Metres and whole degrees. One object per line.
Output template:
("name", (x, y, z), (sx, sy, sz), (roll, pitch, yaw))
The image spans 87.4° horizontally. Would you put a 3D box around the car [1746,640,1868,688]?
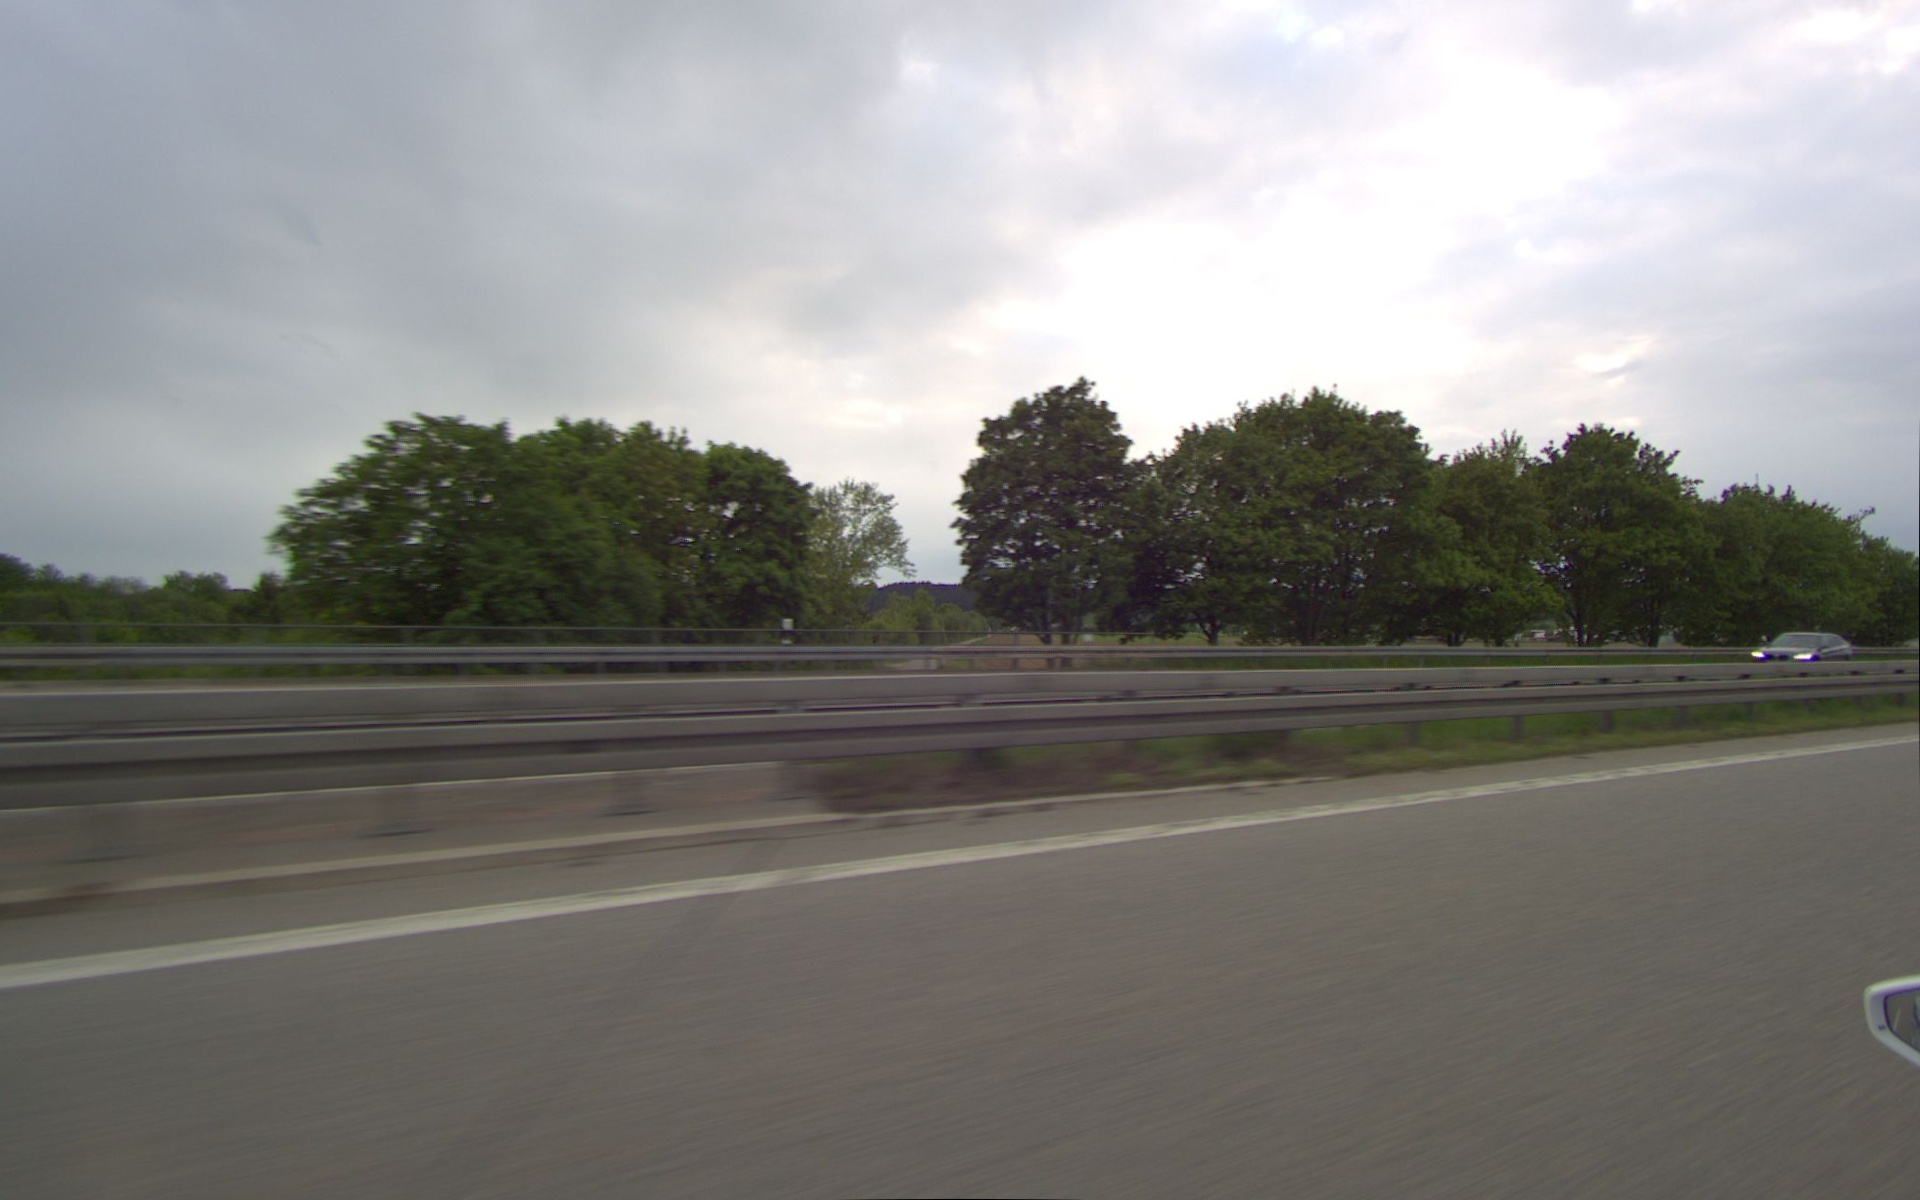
("car", (31.573, 2.355, 37.423), (4.753, 1.603, 1.984), (2, 0, -30))
